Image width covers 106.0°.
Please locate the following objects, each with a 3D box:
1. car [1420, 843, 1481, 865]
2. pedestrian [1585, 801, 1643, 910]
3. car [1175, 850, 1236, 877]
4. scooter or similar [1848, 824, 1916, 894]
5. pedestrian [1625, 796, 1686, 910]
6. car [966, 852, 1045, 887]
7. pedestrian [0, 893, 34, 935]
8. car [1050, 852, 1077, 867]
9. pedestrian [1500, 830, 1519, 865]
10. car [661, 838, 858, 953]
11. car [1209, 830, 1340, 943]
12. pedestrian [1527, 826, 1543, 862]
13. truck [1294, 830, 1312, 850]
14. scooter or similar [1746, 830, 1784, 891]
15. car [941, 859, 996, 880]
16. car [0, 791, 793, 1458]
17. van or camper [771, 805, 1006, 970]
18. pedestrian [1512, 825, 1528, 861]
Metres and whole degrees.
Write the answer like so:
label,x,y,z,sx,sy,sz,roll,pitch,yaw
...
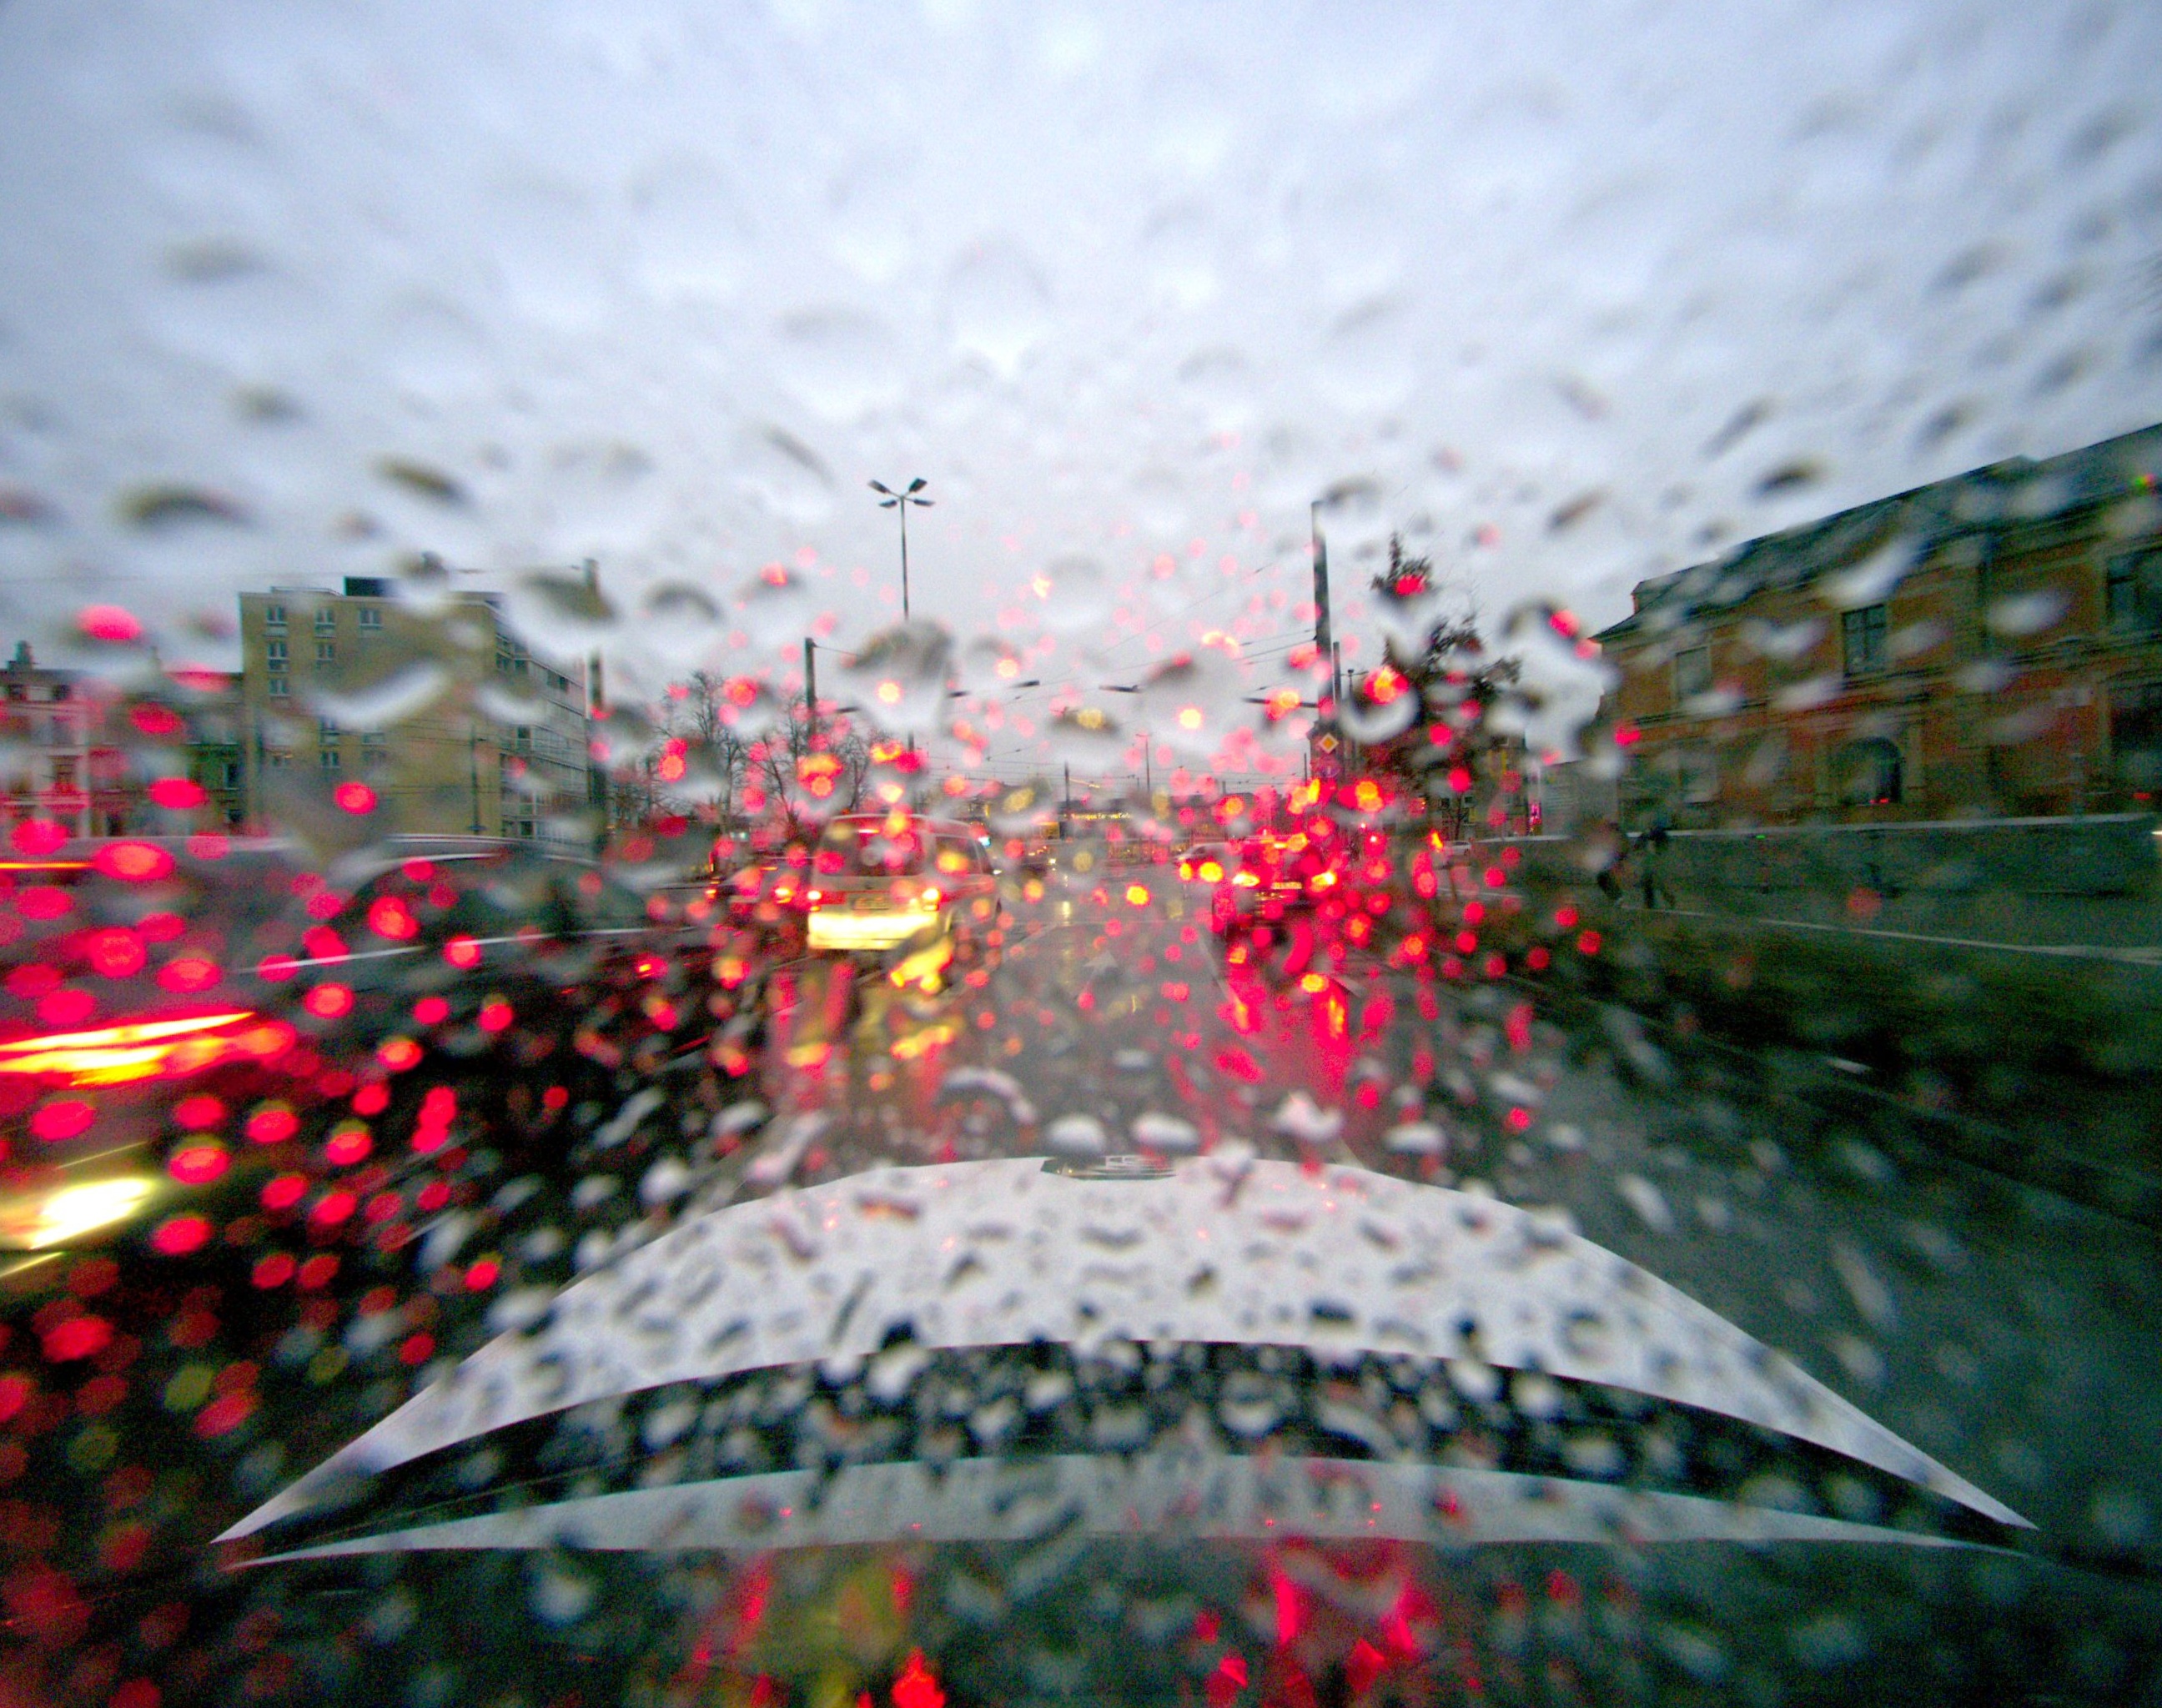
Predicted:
label,x,y,z,sx,sy,sz,roll,pitch,yaw
car,32.021,0.017,70.602,4.810,1.657,1.730,-2,0,-18
pedestrian,9.778,0.011,14.964,0.800,1.929,0.765,-1,2,27
car,9.705,0.744,63.617,4.400,2.014,1.906,0,-4,-8
scooter or similar,14.726,0.082,15.004,0.508,1.213,1.391,-3,-1,30
pedestrian,10.484,-0.039,14.889,0.800,2.013,0.765,-1,2,27
car,-3.949,0.804,43.063,1.974,1.602,4.026,-3,0,35
pedestrian,-43.991,2.471,33.623,0.695,1.695,0.574,-2,-1,-14
car,-1.817,0.572,84.183,1.801,1.446,4.014,-3,0,12
pedestrian,24.366,-0.381,46.301,0.670,1.950,0.681,-3,-1,44
car,-5.662,0.658,14.964,1.878,1.772,4.002,-2,0,2
car,3.462,0.542,15.375,1.769,1.800,4.431,-1,0,5
pedestrian,24.871,-0.541,44.623,0.669,1.950,0.666,-3,-1,31
truck,32.615,-2.018,119.435,1.976,2.691,5.142,-3,0,21
scooter or similar,14.293,0.118,17.032,0.507,1.213,1.392,-3,-1,38
car,-8.094,1.100,58.637,3.806,1.366,1.845,-2,0,-11
car,-3.254,0.650,4.239,1.779,1.601,4.542,0,0,1
van or camper,-2.736,0.439,13.046,2.191,2.109,4.993,-1,0,4
pedestrian,24.266,-0.610,45.030,0.669,1.950,0.666,-3,-1,32
